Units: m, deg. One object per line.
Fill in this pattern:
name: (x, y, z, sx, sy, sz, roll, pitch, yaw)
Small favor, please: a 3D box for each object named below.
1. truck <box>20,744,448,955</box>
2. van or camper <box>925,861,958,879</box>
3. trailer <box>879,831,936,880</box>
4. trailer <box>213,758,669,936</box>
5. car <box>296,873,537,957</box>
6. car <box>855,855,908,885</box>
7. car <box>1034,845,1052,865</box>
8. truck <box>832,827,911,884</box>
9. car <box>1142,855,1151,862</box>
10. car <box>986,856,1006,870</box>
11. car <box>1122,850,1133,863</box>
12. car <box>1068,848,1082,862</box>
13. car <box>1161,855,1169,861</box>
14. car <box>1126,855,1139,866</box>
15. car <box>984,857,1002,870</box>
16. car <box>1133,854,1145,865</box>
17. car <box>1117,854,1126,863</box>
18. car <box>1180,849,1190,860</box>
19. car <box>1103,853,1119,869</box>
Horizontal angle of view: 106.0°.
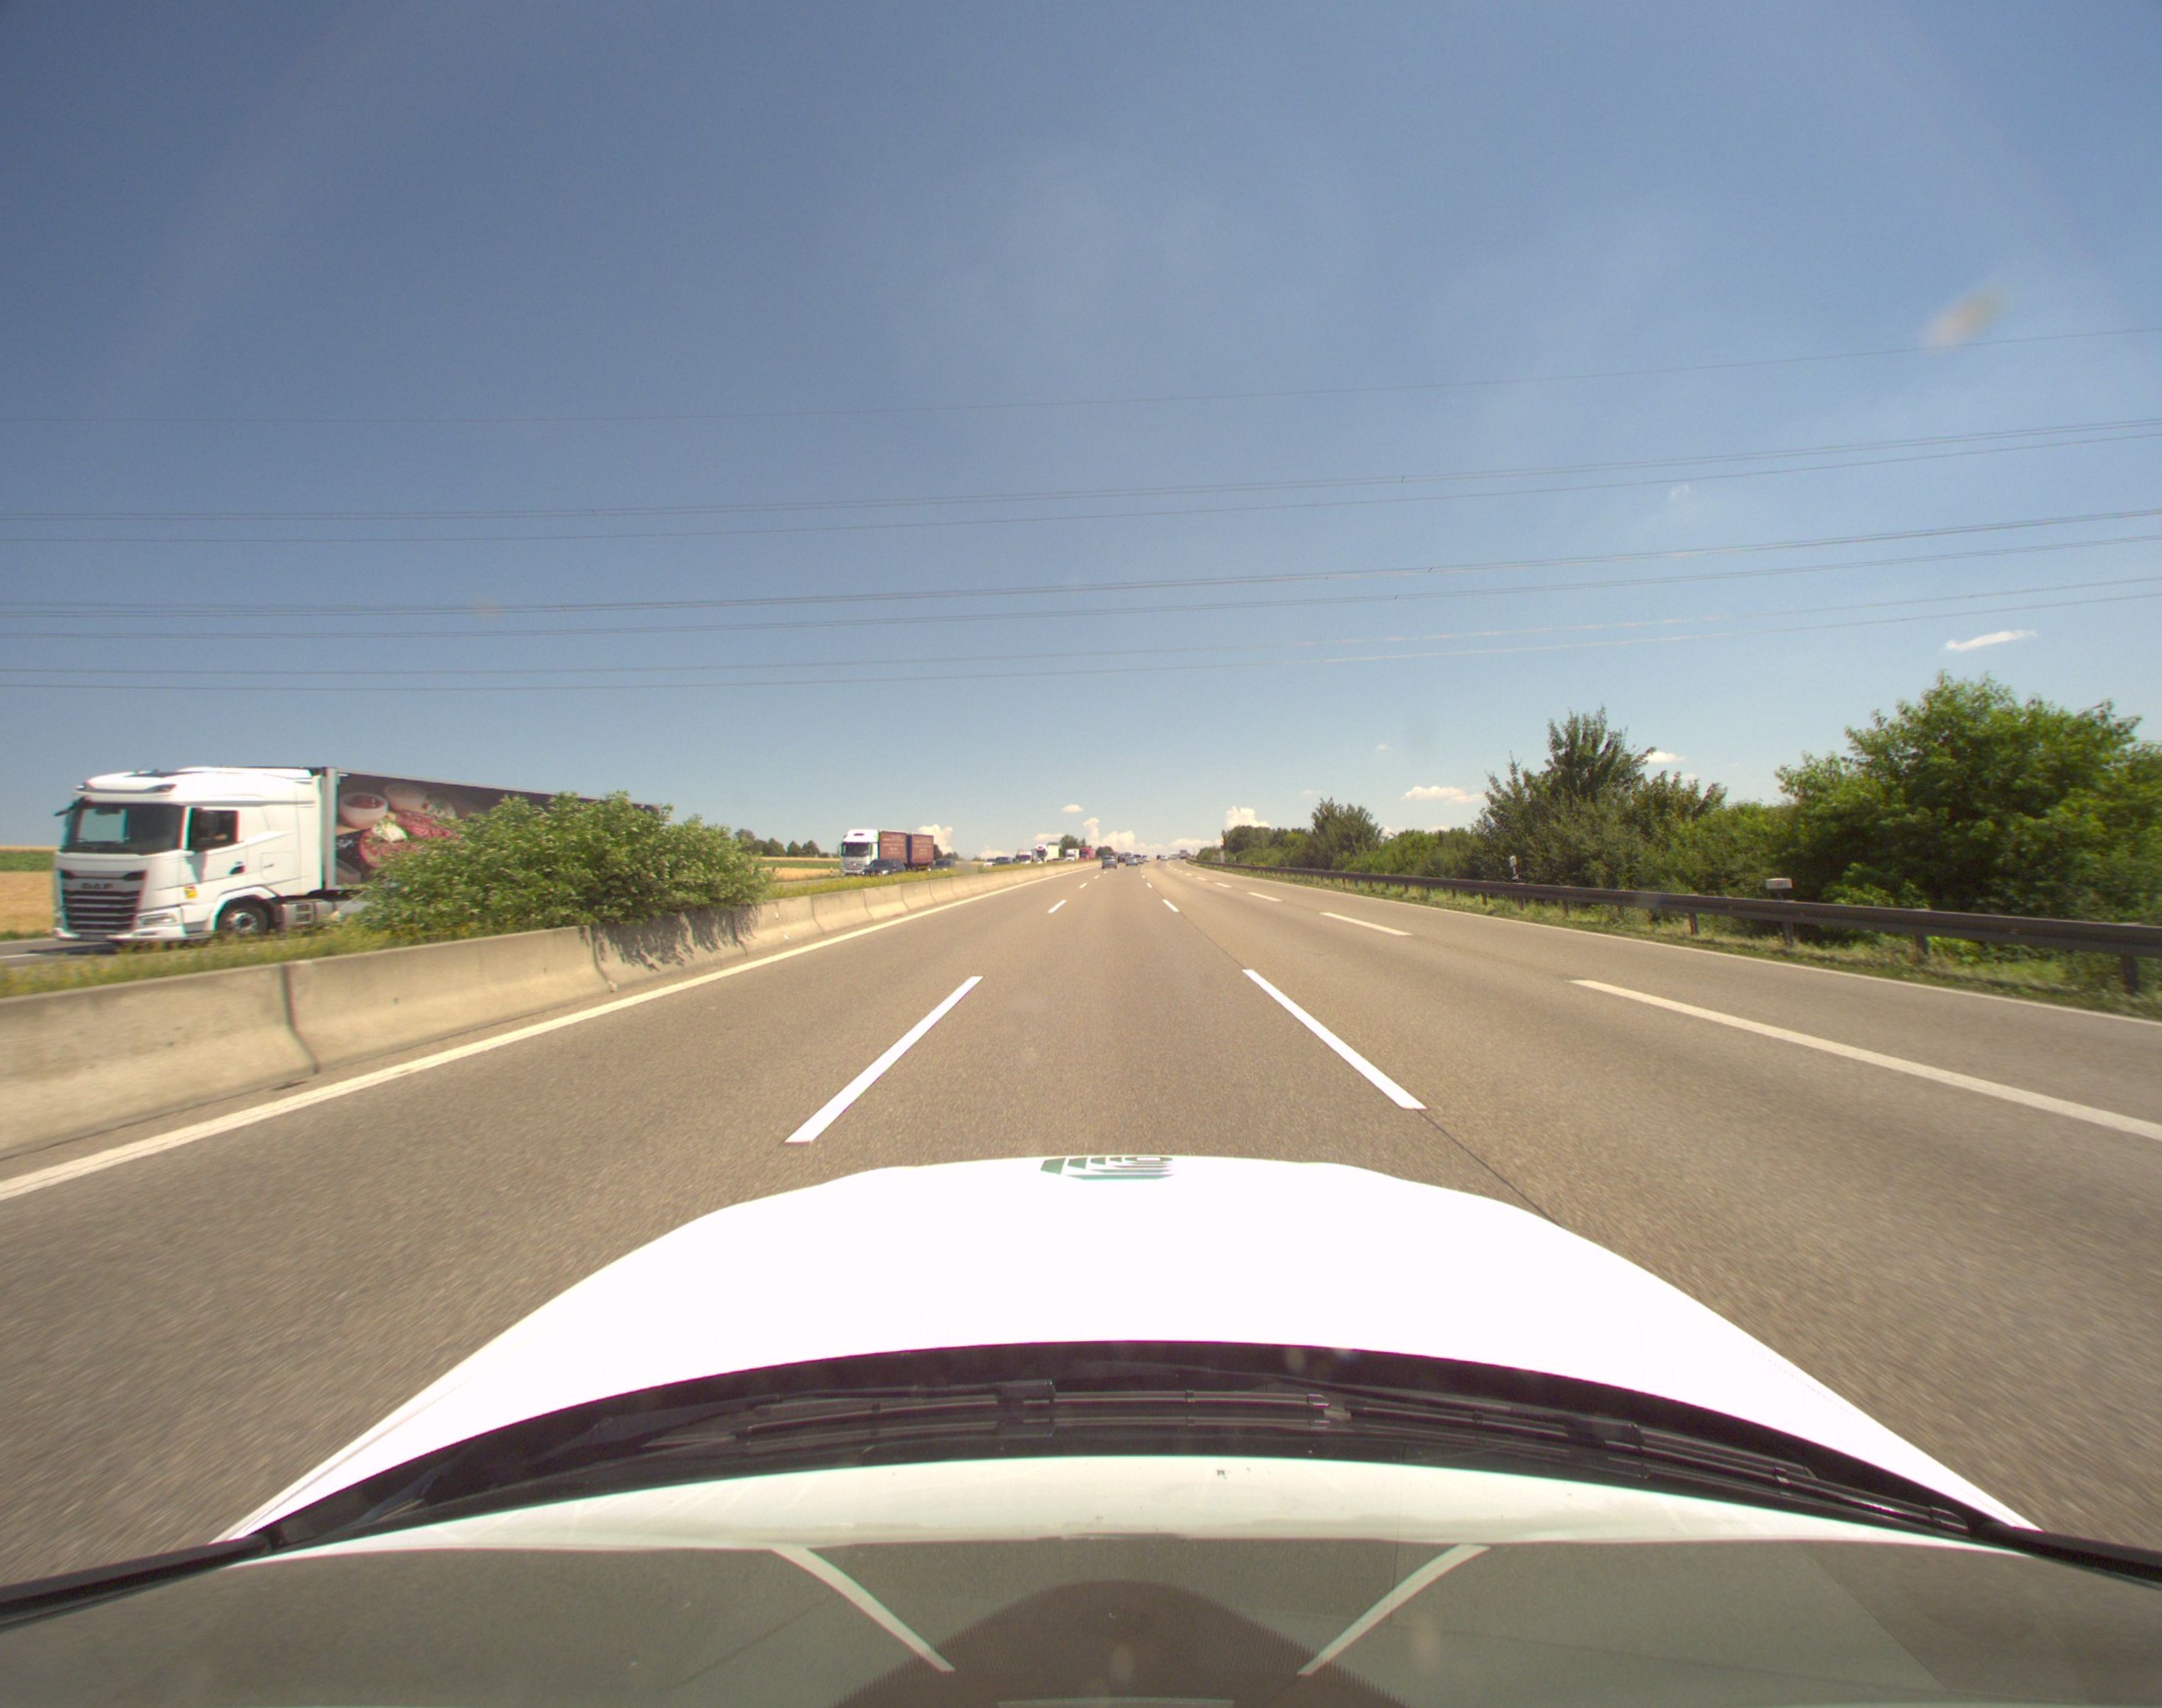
truck: (-18.760, -0.054, 18.848, 2.841, 4.027, 6.520, 0, -1, 3)
van or camper: (-11.991, 1.379, 70.427, 1.986, 1.453, 4.002, -1, 0, 2)
trailer: (-15.822, 0.137, 75.061, 2.764, 4.183, 9.186, 0, 0, 4)
trailer: (-18.414, -0.106, 25.905, 2.781, 4.105, 14.018, 0, 0, 3)
car: (-14.469, 1.250, 18.102, 1.986, 1.578, 4.001, 0, 0, 1)
car: (-13.038, 1.010, 53.455, 1.986, 1.792, 5.217, 0, 0, 2)
car: (-7.670, 0.223, 165.132, 2.529, 3.832, 8.193, -1, 0, 6)
truck: (-16.516, 0.100, 65.189, 2.875, 4.171, 10.633, 0, 0, 4)
car: (15.242, 1.017, 188.509, 1.983, 1.552, 4.007, 1, 0, 6)
car: (-10.315, 1.099, 98.984, 1.730, 1.670, 4.003, 0, 0, 3)
car: (10.526, 0.530, 183.825, 2.170, 2.625, 4.677, 0, -3, 4)
car: (-1.533, 0.304, 206.726, 2.530, 3.379, 8.192, -1, 0, 5)
car: (21.888, 1.093, 212.467, 1.892, 1.442, 4.007, 0, 0, 6)
car: (7.965, 1.020, 126.559, 1.985, 1.585, 4.003, -1, -2, 3)
car: (-12.470, 1.375, 115.963, 1.985, 1.849, 4.002, -1, -1, 3)
car: (10.754, 0.972, 150.859, 1.984, 1.904, 4.005, -1, -3, 5)
car: (8.491, 0.997, 170.029, 1.839, 1.861, 4.211, 0, 1, 5)
car: (22.412, 0.136, 175.474, 1.983, 2.301, 6.274, -1, 0, 6)
car: (3.734, 0.899, 101.229, 1.986, 1.750, 4.001, 0, -3, 2)
